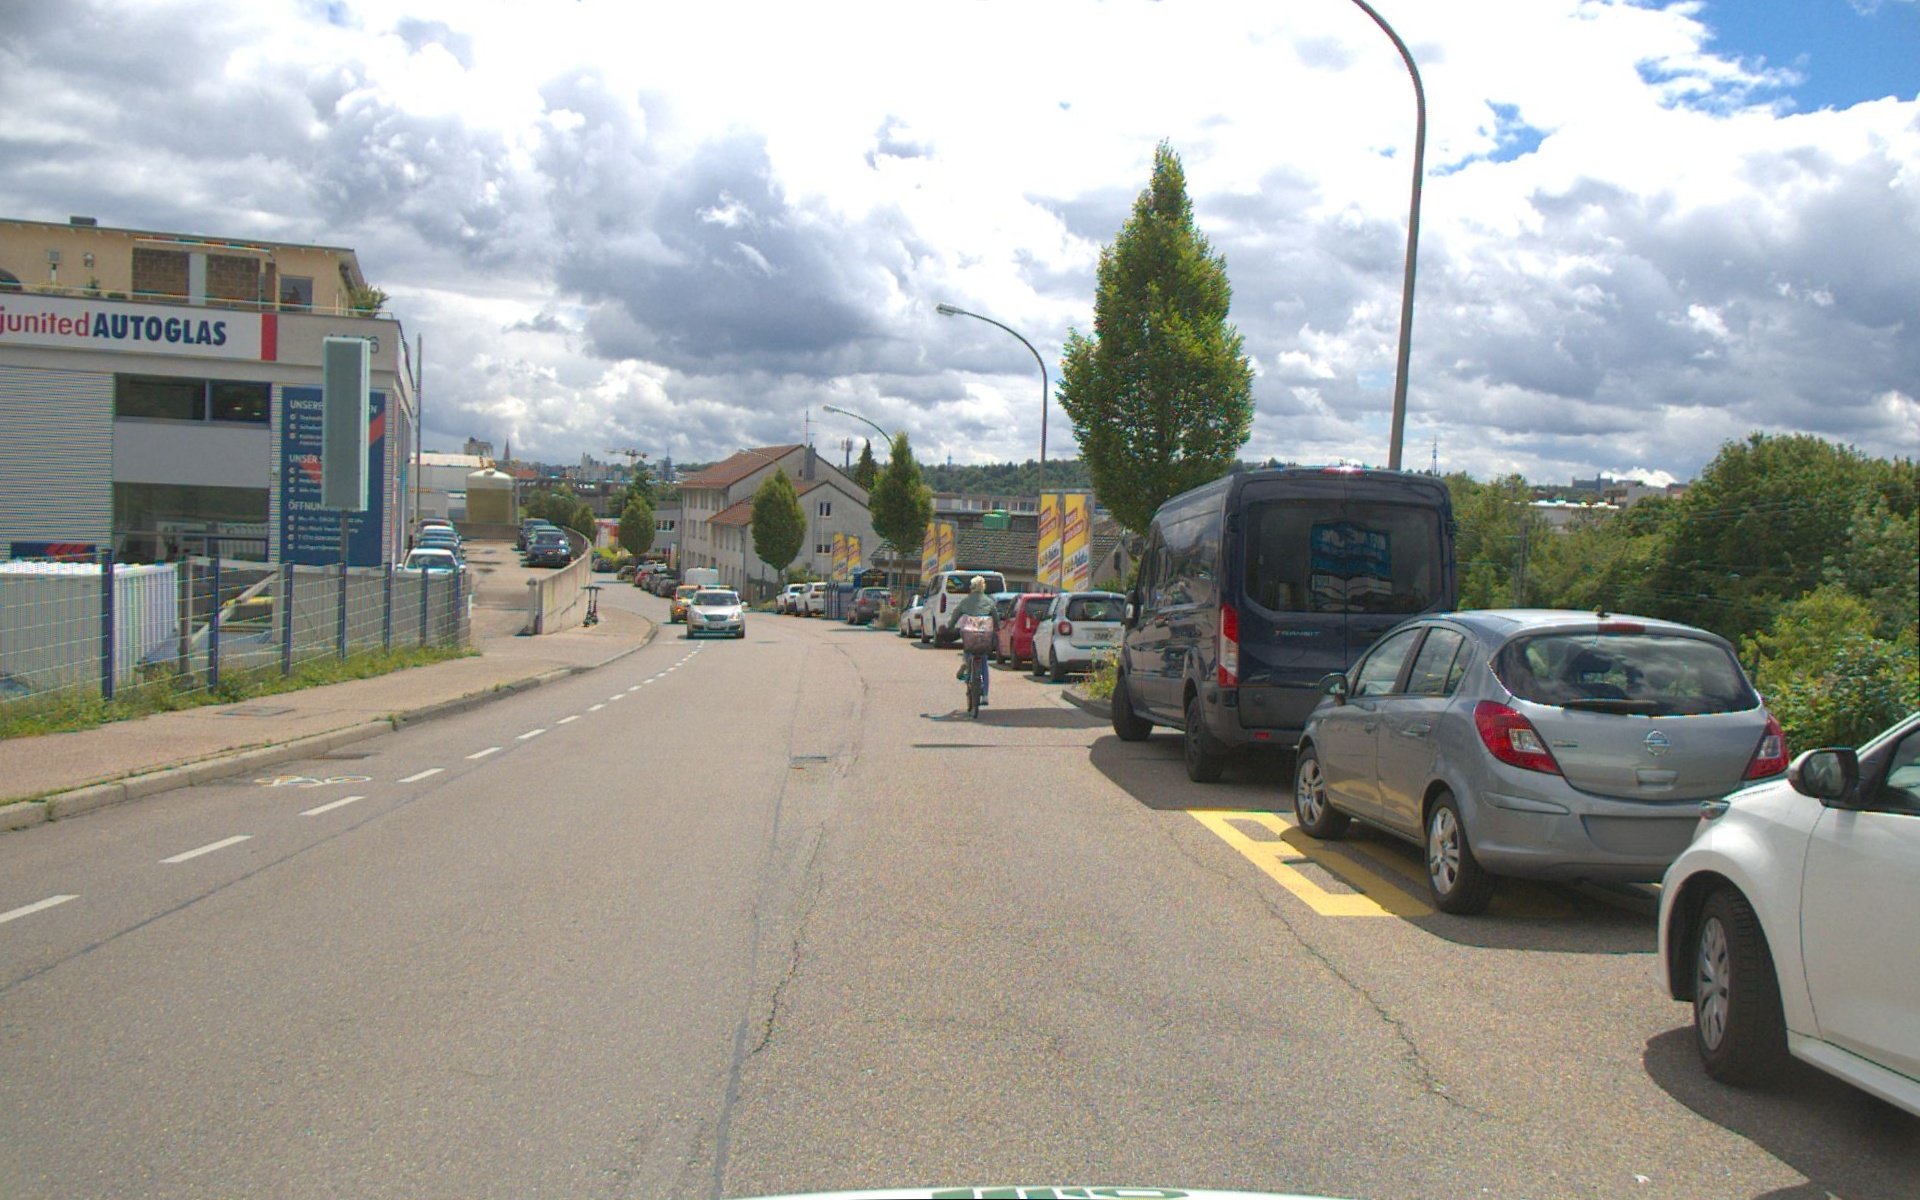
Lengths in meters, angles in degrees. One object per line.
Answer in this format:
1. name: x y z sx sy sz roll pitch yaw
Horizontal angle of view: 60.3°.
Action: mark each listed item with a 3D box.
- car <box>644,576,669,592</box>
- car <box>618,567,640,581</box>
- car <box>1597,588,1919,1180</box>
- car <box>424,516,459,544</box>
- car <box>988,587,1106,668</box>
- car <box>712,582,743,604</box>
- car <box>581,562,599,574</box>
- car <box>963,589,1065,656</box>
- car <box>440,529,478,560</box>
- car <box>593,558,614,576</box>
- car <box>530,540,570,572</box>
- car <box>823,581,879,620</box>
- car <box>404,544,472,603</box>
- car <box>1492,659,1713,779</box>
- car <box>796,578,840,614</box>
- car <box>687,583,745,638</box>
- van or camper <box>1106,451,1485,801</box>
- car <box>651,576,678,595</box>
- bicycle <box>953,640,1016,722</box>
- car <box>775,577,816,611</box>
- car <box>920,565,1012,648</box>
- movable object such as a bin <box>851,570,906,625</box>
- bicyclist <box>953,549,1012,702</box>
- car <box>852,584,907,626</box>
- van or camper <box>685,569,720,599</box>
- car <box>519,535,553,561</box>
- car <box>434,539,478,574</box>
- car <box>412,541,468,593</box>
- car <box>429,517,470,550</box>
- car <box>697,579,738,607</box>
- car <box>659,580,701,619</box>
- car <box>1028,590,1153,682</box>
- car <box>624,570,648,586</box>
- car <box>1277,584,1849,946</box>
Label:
1. car: -27.321 -1.446 148.966 1.960 1.489 3.985 0 1 -14
2. car: -34.170 -2.707 170.684 1.961 1.445 3.983 0 1 -15
3. car: 3.351 0.787 4.199 1.672 1.505 3.955 3 1 -4
4. car: -26.835 -3.619 85.610 1.643 1.346 3.702 0 1 -16
5. car: 1.706 0.512 33.779 1.839 1.534 3.996 0 1 -5
6. car: -15.866 -0.497 112.795 1.957 1.489 3.991 0 1 -10
7. car: -44.812 -3.860 200.151 1.961 1.445 3.983 0 1 -15
8. car: 1.189 0.486 38.285 1.867 1.467 3.539 0 1 -7
9. car: -23.425 -2.589 77.444 1.643 1.346 3.702 0 1 -16
10. car: -42.342 -3.905 196.410 1.963 2.048 3.979 4 0 -19
11. car: -17.812 -1.926 71.906 1.642 1.346 3.705 1 2 -14
12. car: -5.056 0.002 76.159 2.096 1.735 3.990 0 1 -11
13. car: -15.595 -0.788 49.555 1.817 1.679 3.982 0 1 -16
14. car: 9.852 1.772 25.689 1.758 1.532 3.876 0 1 -4
15. car: -7.012 -0.222 81.467 1.780 1.735 3.990 0 1 -11
16. car: -7.515 0.289 50.820 1.671 1.589 4.319 0 1 -9
17. van or camper: 2.835 0.174 15.608 2.082 2.630 5.914 1 0 -3
18. car: -24.688 -1.215 138.081 1.960 1.489 3.985 0 1 -14
19. bicycle: 0.283 0.976 20.520 0.674 0.893 2.101 0 1 -2
20. car: -8.685 -0.347 87.085 1.809 1.735 3.990 0 1 -11
21. car: 0.106 0.142 44.989 1.955 2.049 4.912 2 0 -6
22. movable object such as a bin: -3.572 -0.127 72.115 2.096 2.343 2.551 0 0 -11
23. bicyclist: 0.270 0.303 20.603 0.671 1.857 1.080 0 0 -2
24. car: -3.307 0.185 67.415 1.955 1.646 3.994 0 1 -7
25. van or camper: -18.965 -1.181 121.534 1.961 2.048 3.983 4 0 -16
26. car: -22.845 -2.801 89.087 1.643 1.346 3.702 0 2 -16
27. car: -20.089 -1.726 66.007 1.643 1.346 3.702 0 1 -16
28. car: -16.966 -1.065 54.088 1.668 1.658 3.702 0 1 -16
29. car: -22.302 -2.893 72.368 1.643 1.346 3.702 0 1 -16
30. car: -14.492 -0.415 98.777 1.960 1.646 3.984 0 1 -15
31. car: -11.746 -0.040 69.462 1.677 1.601 3.991 0 1 -10
32. car: 2.275 0.603 29.429 1.758 1.532 2.903 0 1 -5
33. car: -30.441 -2.048 155.220 1.960 1.489 3.985 0 1 -14
34. car: 3.091 0.736 9.333 1.671 1.536 3.694 3 1 -3
